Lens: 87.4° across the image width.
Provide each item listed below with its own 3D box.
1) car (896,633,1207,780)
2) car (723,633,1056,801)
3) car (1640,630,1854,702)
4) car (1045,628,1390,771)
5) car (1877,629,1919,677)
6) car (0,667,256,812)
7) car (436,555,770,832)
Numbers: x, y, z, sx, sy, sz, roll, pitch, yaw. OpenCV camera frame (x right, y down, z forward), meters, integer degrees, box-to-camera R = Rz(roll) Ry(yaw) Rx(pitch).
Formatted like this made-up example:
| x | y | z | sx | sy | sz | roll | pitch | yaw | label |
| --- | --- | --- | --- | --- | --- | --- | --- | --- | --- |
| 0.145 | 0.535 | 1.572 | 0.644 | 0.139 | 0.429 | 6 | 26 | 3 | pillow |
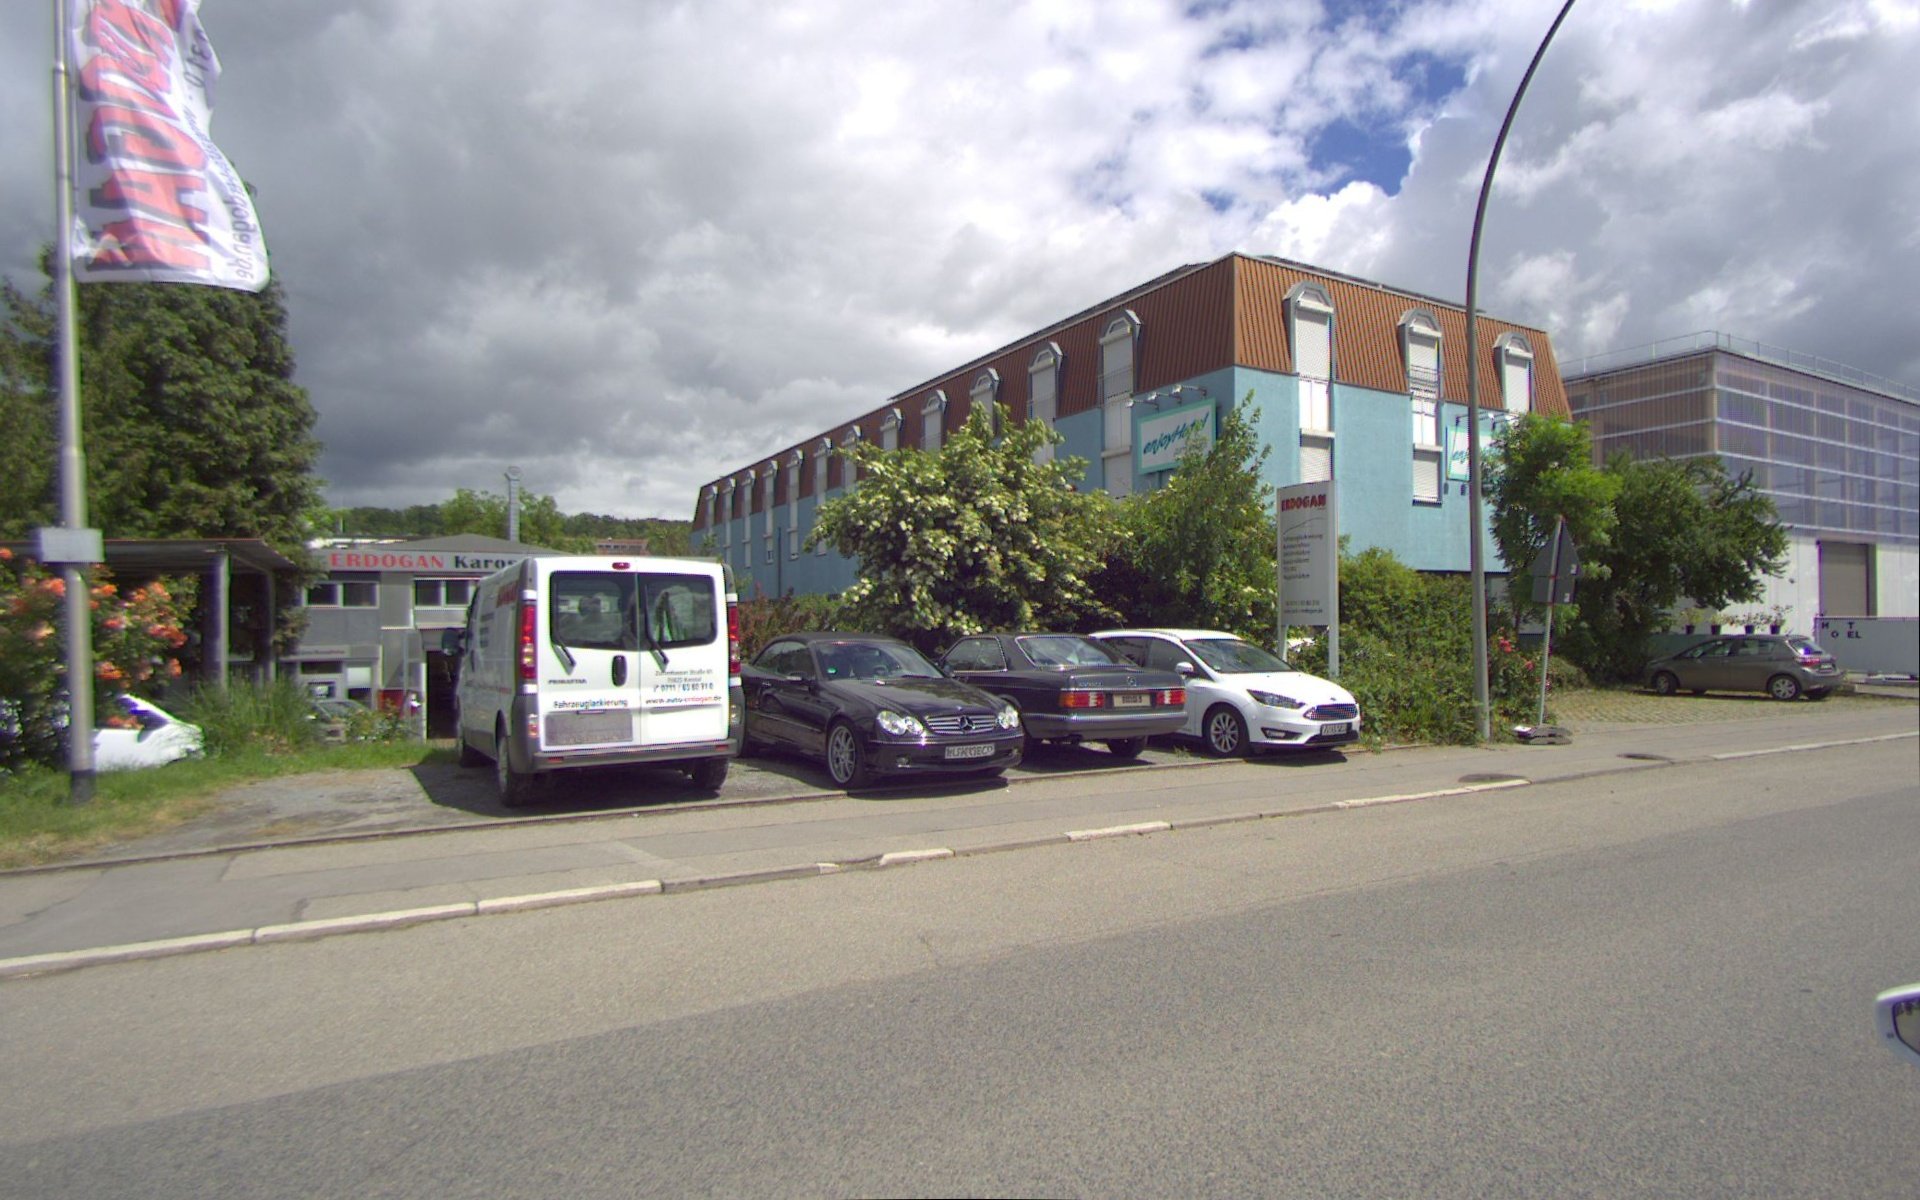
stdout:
| x | y | z | sx | sy | sz | roll | pitch | yaw | label |
| --- | --- | --- | --- | --- | --- | --- | --- | --- | --- |
| 0.871 | 1.097 | 11.857 | 1.847 | 1.373 | 3.973 | 0 | -1 | -27 | car |
| -0.930 | 1.027 | 10.346 | 1.850 | 1.332 | 3.967 | 2 | -2 | -31 | car |
| 18.924 | 1.524 | 24.306 | 1.954 | 1.553 | 3.614 | 0 | -1 | -27 | car |
| 3.082 | 1.134 | 12.982 | 1.849 | 1.498 | 4.356 | 2 | -2 | -29 | car |
| 33.006 | 1.817 | 32.838 | 1.806 | 1.512 | 4.125 | 0 | 1 | -33 | car |
| -14.988 | 2.286 | 16.919 | 4.968 | 2.041 | 1.983 | 0 | 1 | -32 | car |
| -3.709 | 0.736 | 9.804 | 2.092 | 1.998 | 4.625 | 0 | -1 | -33 | car |
